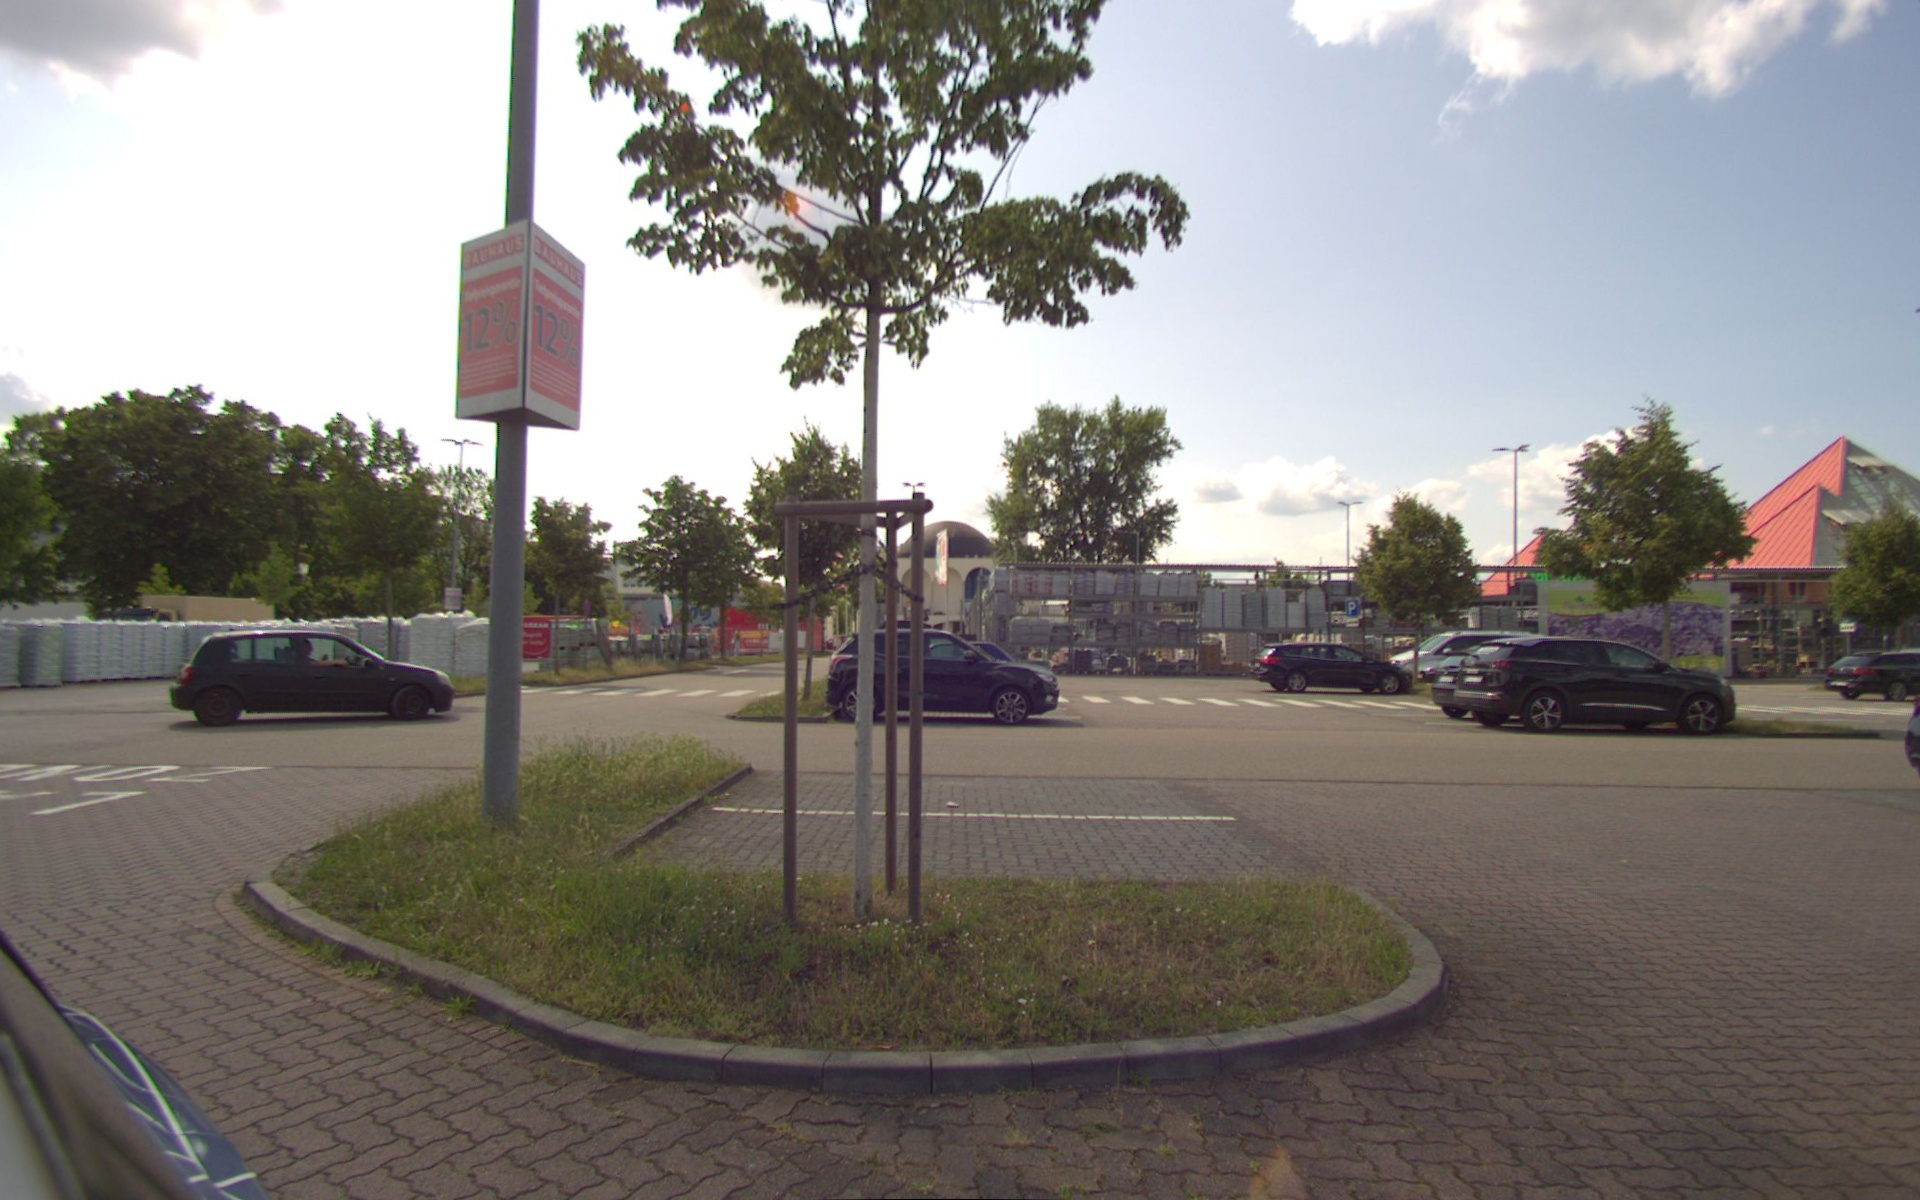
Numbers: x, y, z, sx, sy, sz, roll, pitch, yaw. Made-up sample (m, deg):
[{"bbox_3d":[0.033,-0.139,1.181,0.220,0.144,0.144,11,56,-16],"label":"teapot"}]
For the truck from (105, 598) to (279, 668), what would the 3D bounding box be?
[{"bbox_3d":[-43.003,1.912,57.184,2.693,3.626,9.030,1,-3,2],"label":"truck"}]

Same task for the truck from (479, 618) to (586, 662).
[{"bbox_3d":[-25.105,2.372,59.562,5.366,2.534,2.117,0,-3,-2],"label":"truck"}]

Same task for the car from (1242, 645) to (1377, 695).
[{"bbox_3d":[10.339,2.069,30.112,3.306,1.415,1.812,0,-2,-2],"label":"car"}]

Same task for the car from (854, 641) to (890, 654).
[{"bbox_3d":[-10.372,5.587,119.398,4.136,1.521,1.791,0,-3,2],"label":"car"}]

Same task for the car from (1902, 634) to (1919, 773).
[{"bbox_3d":[11.484,1.012,9.399,3.828,1.380,1.729,0,-2,-1],"label":"car"}]

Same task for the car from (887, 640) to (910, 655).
[{"bbox_3d":[-6.002,4.653,98.998,1.786,1.476,4.324,0,-2,3],"label":"car"}]

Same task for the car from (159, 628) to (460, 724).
[{"bbox_3d":[-9.945,1.130,15.713,3.723,1.331,1.616,2,-3,-33],"label":"car"}]

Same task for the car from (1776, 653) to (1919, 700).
[{"bbox_3d":[26.321,2.247,29.786,3.246,1.229,1.536,1,-4,21],"label":"car"}]

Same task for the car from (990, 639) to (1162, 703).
[{"bbox_3d":[2.561,1.593,22.967,3.711,1.378,1.620,0,-3,1],"label":"car"}]

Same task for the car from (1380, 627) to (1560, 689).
[{"bbox_3d":[17.477,1.985,34.864,5.115,2.029,1.999,0,-2,1],"label":"car"}]

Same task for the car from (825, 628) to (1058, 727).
[{"bbox_3d":[-0.288,1.335,17.868,3.910,1.637,1.734,0,-2,3],"label":"car"}]

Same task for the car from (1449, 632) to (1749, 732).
[{"bbox_3d":[10.927,1.384,17.513,4.025,1.637,1.784,0,-2,-2],"label":"car"}]

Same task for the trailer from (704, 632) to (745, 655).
[{"bbox_3d":[-26.495,4.869,113.834,4.218,2.437,1.768,1,0,1],"label":"trailer"}]

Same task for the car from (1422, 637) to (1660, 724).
[{"bbox_3d":[11.390,1.557,20.000,3.650,1.637,1.785,0,-2,-5],"label":"car"}]
